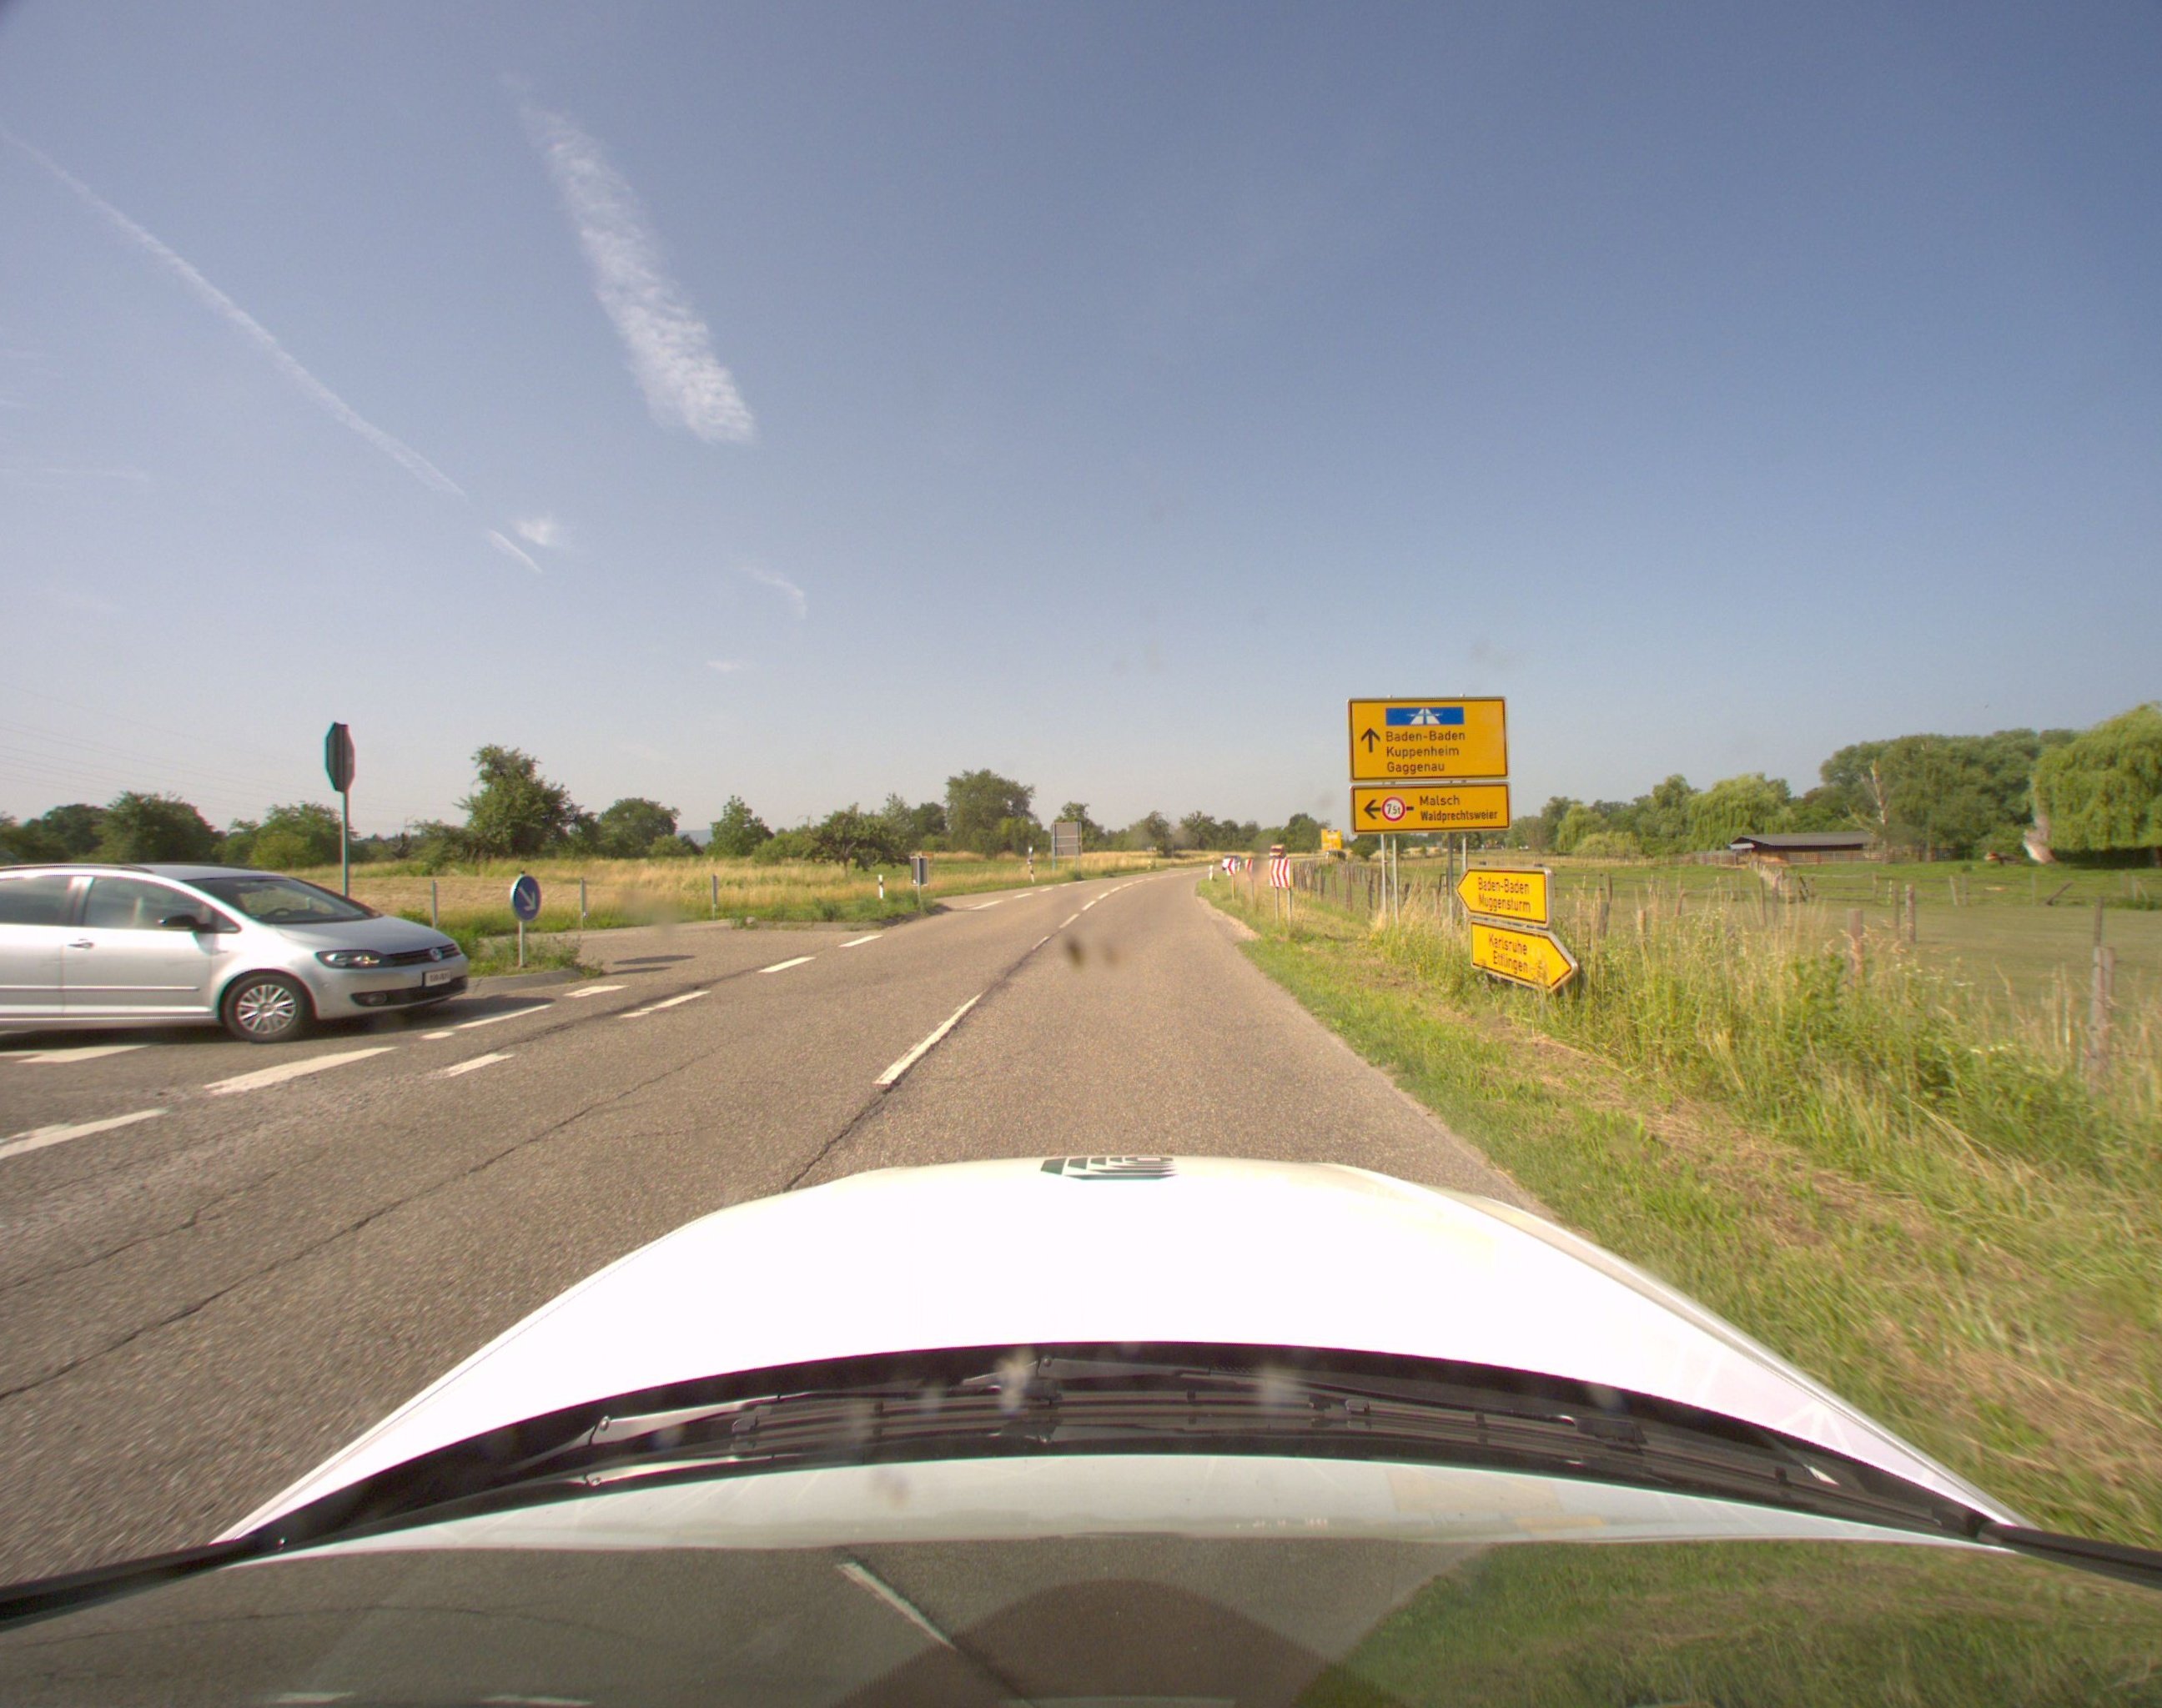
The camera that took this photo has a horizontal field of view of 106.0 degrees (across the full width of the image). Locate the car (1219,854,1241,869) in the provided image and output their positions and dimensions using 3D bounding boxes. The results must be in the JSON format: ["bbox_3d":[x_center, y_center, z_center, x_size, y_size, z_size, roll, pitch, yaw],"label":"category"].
[{"bbox_3d":[15.788,0.803,85.987,1.884,1.512,4.017,0,0,16],"label":"car"}]

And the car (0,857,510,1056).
[{"bbox_3d":[-8.188,0.861,7.818,3.892,1.580,1.995,-1,0,-7],"label":"car"}]

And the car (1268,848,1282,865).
[{"bbox_3d":[32.710,0.366,137.271,2.108,2.696,5.290,-1,0,15],"label":"car"}]
